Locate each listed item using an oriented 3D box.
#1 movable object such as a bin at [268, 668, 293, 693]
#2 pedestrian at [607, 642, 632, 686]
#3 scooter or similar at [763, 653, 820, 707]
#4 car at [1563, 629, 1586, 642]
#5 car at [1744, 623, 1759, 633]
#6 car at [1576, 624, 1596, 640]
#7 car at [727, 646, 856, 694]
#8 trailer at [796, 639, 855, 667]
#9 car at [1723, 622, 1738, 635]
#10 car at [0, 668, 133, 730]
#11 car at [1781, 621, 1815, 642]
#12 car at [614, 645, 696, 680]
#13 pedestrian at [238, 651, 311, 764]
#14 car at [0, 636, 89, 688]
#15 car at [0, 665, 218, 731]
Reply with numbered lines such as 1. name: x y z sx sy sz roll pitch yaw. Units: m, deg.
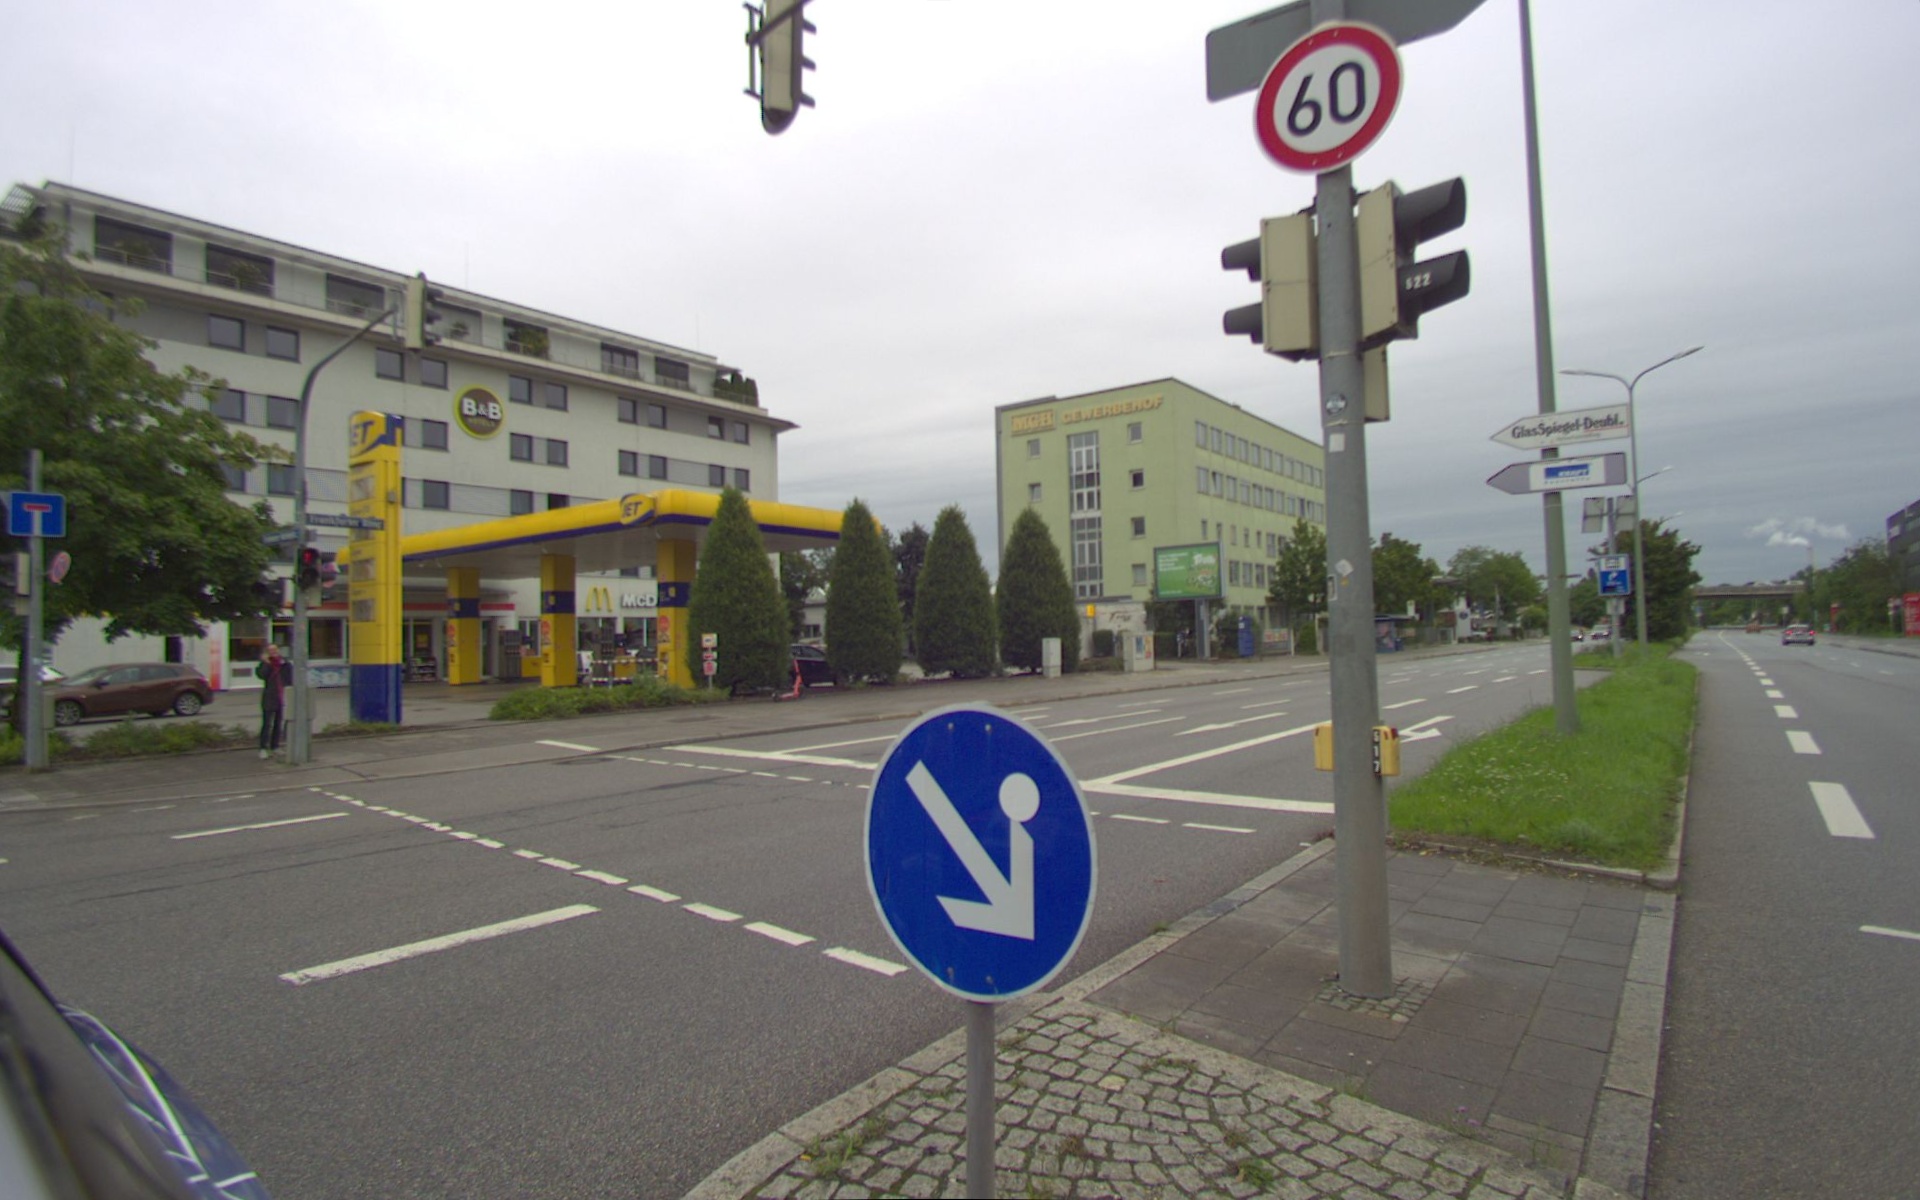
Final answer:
1. movable object such as a bin: -27.399 3.237 40.797 0.636 0.970 0.679 -5 -4 36
2. pedestrian: -14.028 2.639 41.702 0.707 1.742 0.636 -5 -4 33
3. scooter or similar: -4.172 1.964 25.106 0.357 1.252 1.524 -1 -1 41
4. car: 75.443 4.352 124.139 1.996 1.412 4.598 -5 -4 35
5. car: 127.607 4.457 163.244 1.738 1.560 4.251 -2 -2 36
6. car: 84.995 4.327 137.380 1.996 1.976 4.272 -5 -4 35
7. car: -5.355 2.222 32.546 1.796 1.342 3.952 -5 -4 35
8. trailer: -8.961 3.538 67.468 3.802 1.663 1.615 -5 -4 36
9. car: 125.535 4.672 164.794 1.816 2.029 3.784 -2 -2 38
10. car: -24.798 2.664 27.063 1.626 1.497 3.927 -5 -4 38
11. car: 64.480 2.441 77.880 1.818 1.569 3.975 -2 -2 38
12. car: -14.682 3.014 48.693 3.991 1.599 1.686 -4 -3 36
13. pedestrian: -10.433 1.606 15.413 0.803 1.627 0.679 -1 -2 36
14. car: -29.253 1.916 30.574 1.905 1.489 4.141 -5 -4 36
15. car: -21.681 2.432 25.680 1.695 1.395 4.323 -4 -4 27
